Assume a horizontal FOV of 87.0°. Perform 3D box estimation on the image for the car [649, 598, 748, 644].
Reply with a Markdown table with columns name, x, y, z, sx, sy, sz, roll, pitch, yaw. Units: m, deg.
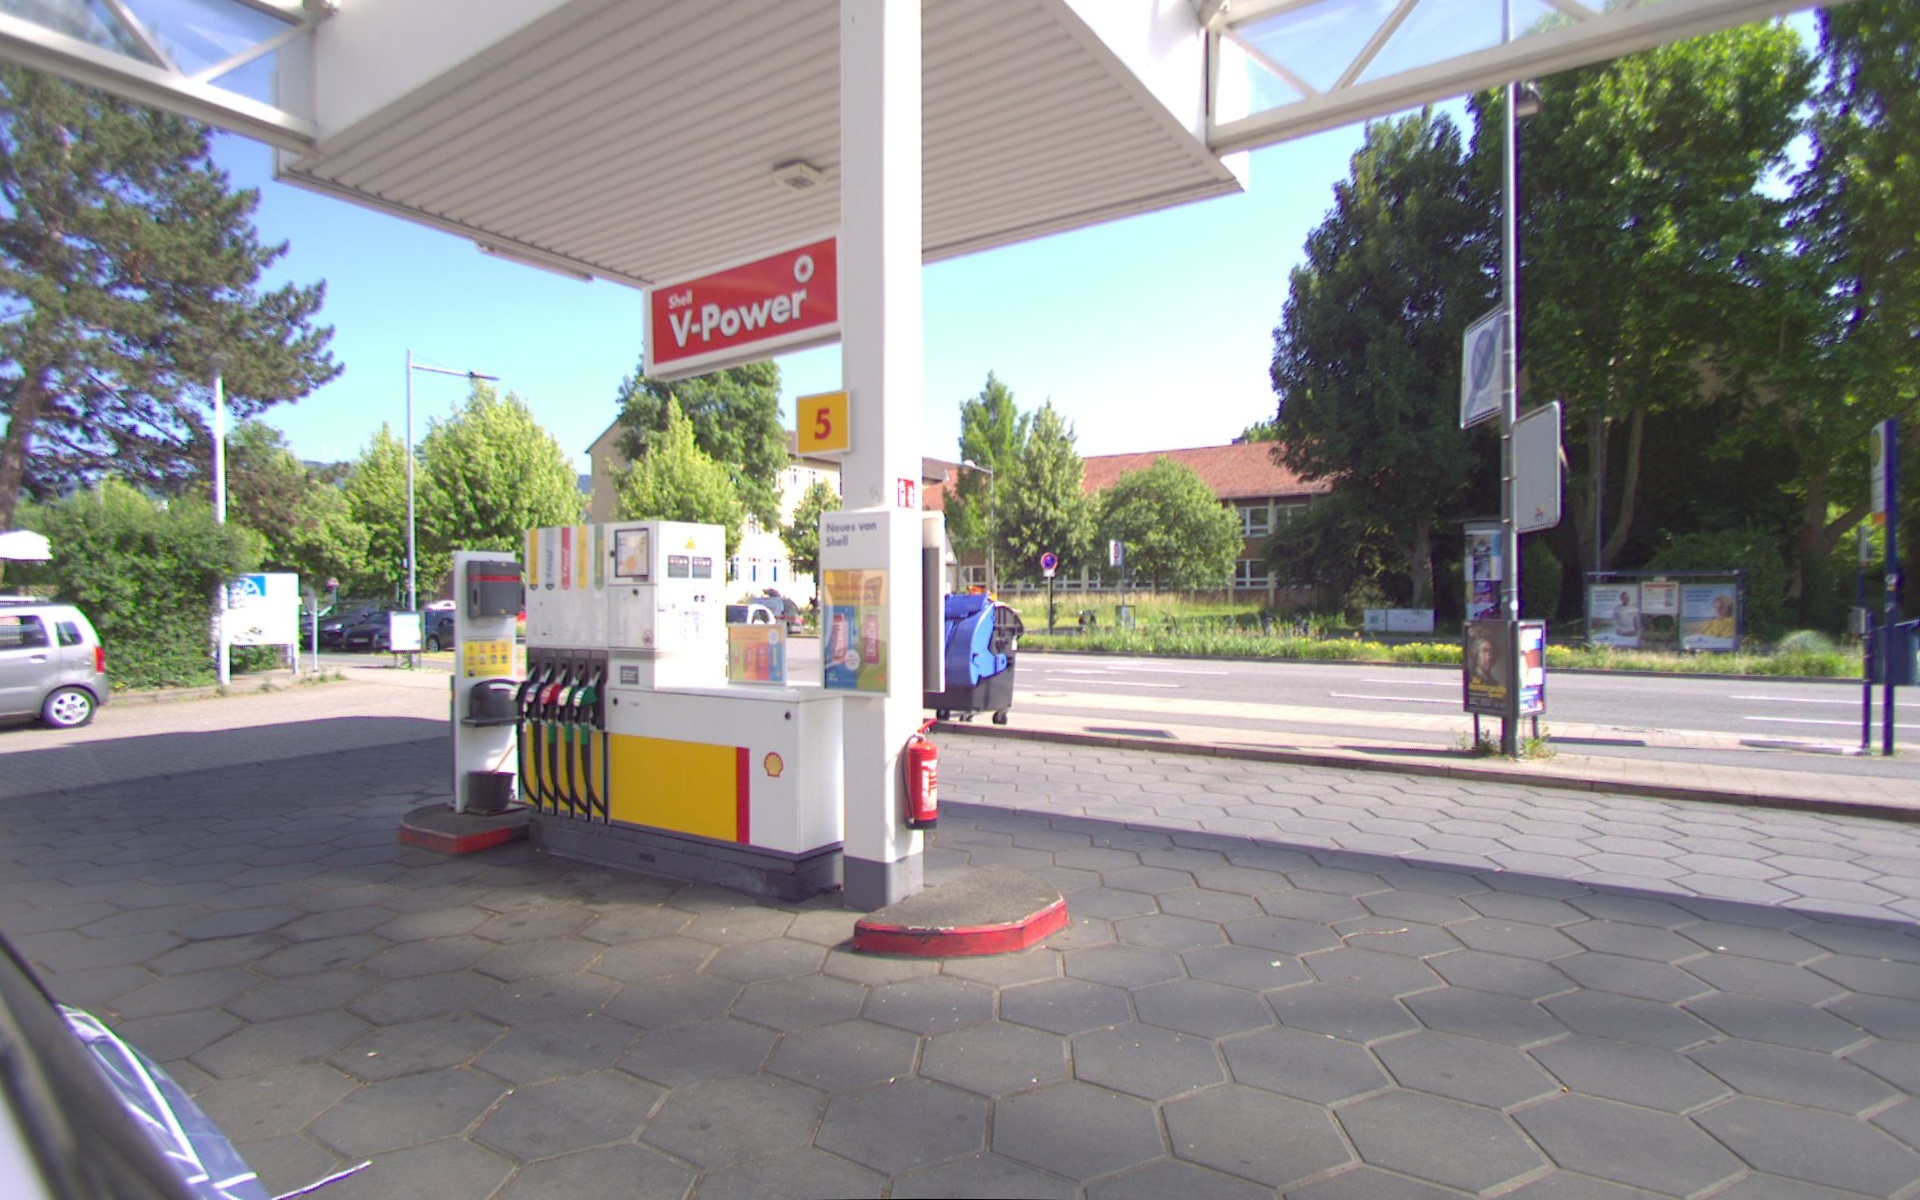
| name | x | y | z | sx | sy | sz | roll | pitch | yaw |
| --- | --- | --- | --- | --- | --- | --- | --- | --- | --- |
| car | -10.890 | 0.841 | 41.976 | 4.391 | 1.782 | 1.972 | 0 | 0 | 43 |

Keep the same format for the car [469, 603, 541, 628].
| name | x | y | z | sx | sy | sz | roll | pitch | yaw |
| --- | --- | --- | --- | --- | --- | --- | --- | --- | --- |
| car | -26.518 | 0.937 | 59.052 | 1.865 | 1.401 | 3.707 | 1 | -1 | 16 |

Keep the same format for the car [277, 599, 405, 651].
| name | x | y | z | sx | sy | sz | roll | pitch | yaw |
| --- | --- | --- | --- | --- | --- | --- | --- | --- | --- |
| car | -21.765 | 0.857 | 35.808 | 1.682 | 1.733 | 4.400 | 0 | -1 | 2 |

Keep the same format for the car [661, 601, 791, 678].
| name | x | y | z | sx | sy | sz | roll | pitch | yaw |
| --- | --- | --- | --- | --- | --- | --- | --- | --- | --- |
| car | -5.663 | 0.917 | 25.113 | 1.937 | 1.719 | 4.301 | -1 | 0 | 4 |

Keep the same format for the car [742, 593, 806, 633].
| name | x | y | z | sx | sy | sz | roll | pitch | yaw |
| --- | --- | --- | --- | --- | --- | --- | --- | --- | --- |
| car | -8.565 | 0.603 | 46.922 | 1.858 | 1.735 | 4.219 | 1 | -1 | 5 |

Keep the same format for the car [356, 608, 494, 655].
| name | x | y | z | sx | sy | sz | roll | pitch | yaw |
| --- | --- | --- | --- | --- | --- | --- | --- | --- | --- |
| car | -17.249 | 1.010 | 32.898 | 1.859 | 1.428 | 4.216 | 0 | -1 | 8 |

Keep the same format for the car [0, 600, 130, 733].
| name | x | y | z | sx | sy | sz | roll | pitch | yaw |
| --- | --- | --- | --- | --- | --- | --- | --- | --- | --- |
| car | -12.997 | 0.869 | 12.735 | 1.689 | 1.629 | 3.618 | 0 | 1 | 36 |

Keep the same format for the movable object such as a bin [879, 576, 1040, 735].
| name | x | y | z | sx | sy | sz | roll | pitch | yaw |
| --- | --- | --- | --- | --- | --- | --- | --- | --- | --- |
| movable object such as a bin | 0.007 | 0.616 | 11.727 | 1.334 | 1.701 | 1.326 | 0 | -2 | 36 |

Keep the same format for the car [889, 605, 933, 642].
| name | x | y | z | sx | sy | sz | roll | pitch | yaw |
| --- | --- | --- | --- | --- | --- | --- | --- | --- | --- |
| car | -2.003 | 0.978 | 42.132 | 1.716 | 1.471 | 4.227 | 0 | -1 | -2 |

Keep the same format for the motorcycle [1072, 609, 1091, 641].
| name | x | y | z | sx | sy | sz | roll | pitch | yaw |
| --- | --- | --- | --- | --- | --- | --- | --- | --- | --- |
| motorcycle | 4.490 | 0.909 | 37.300 | 0.551 | 1.122 | 1.753 | 0 | 0 | 11 |

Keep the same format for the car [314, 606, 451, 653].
| name | x | y | z | sx | sy | sz | roll | pitch | yaw |
| --- | --- | --- | --- | --- | --- | --- | --- | --- | --- |
| car | -19.563 | 0.982 | 34.515 | 1.859 | 1.493 | 4.216 | 0 | -1 | 8 |

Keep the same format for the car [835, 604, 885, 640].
| name | x | y | z | sx | sy | sz | roll | pitch | yaw |
| --- | --- | --- | --- | --- | --- | --- | --- | --- | --- |
| car | -4.285 | 0.955 | 43.846 | 1.854 | 1.471 | 4.227 | 1 | -1 | -2 |
